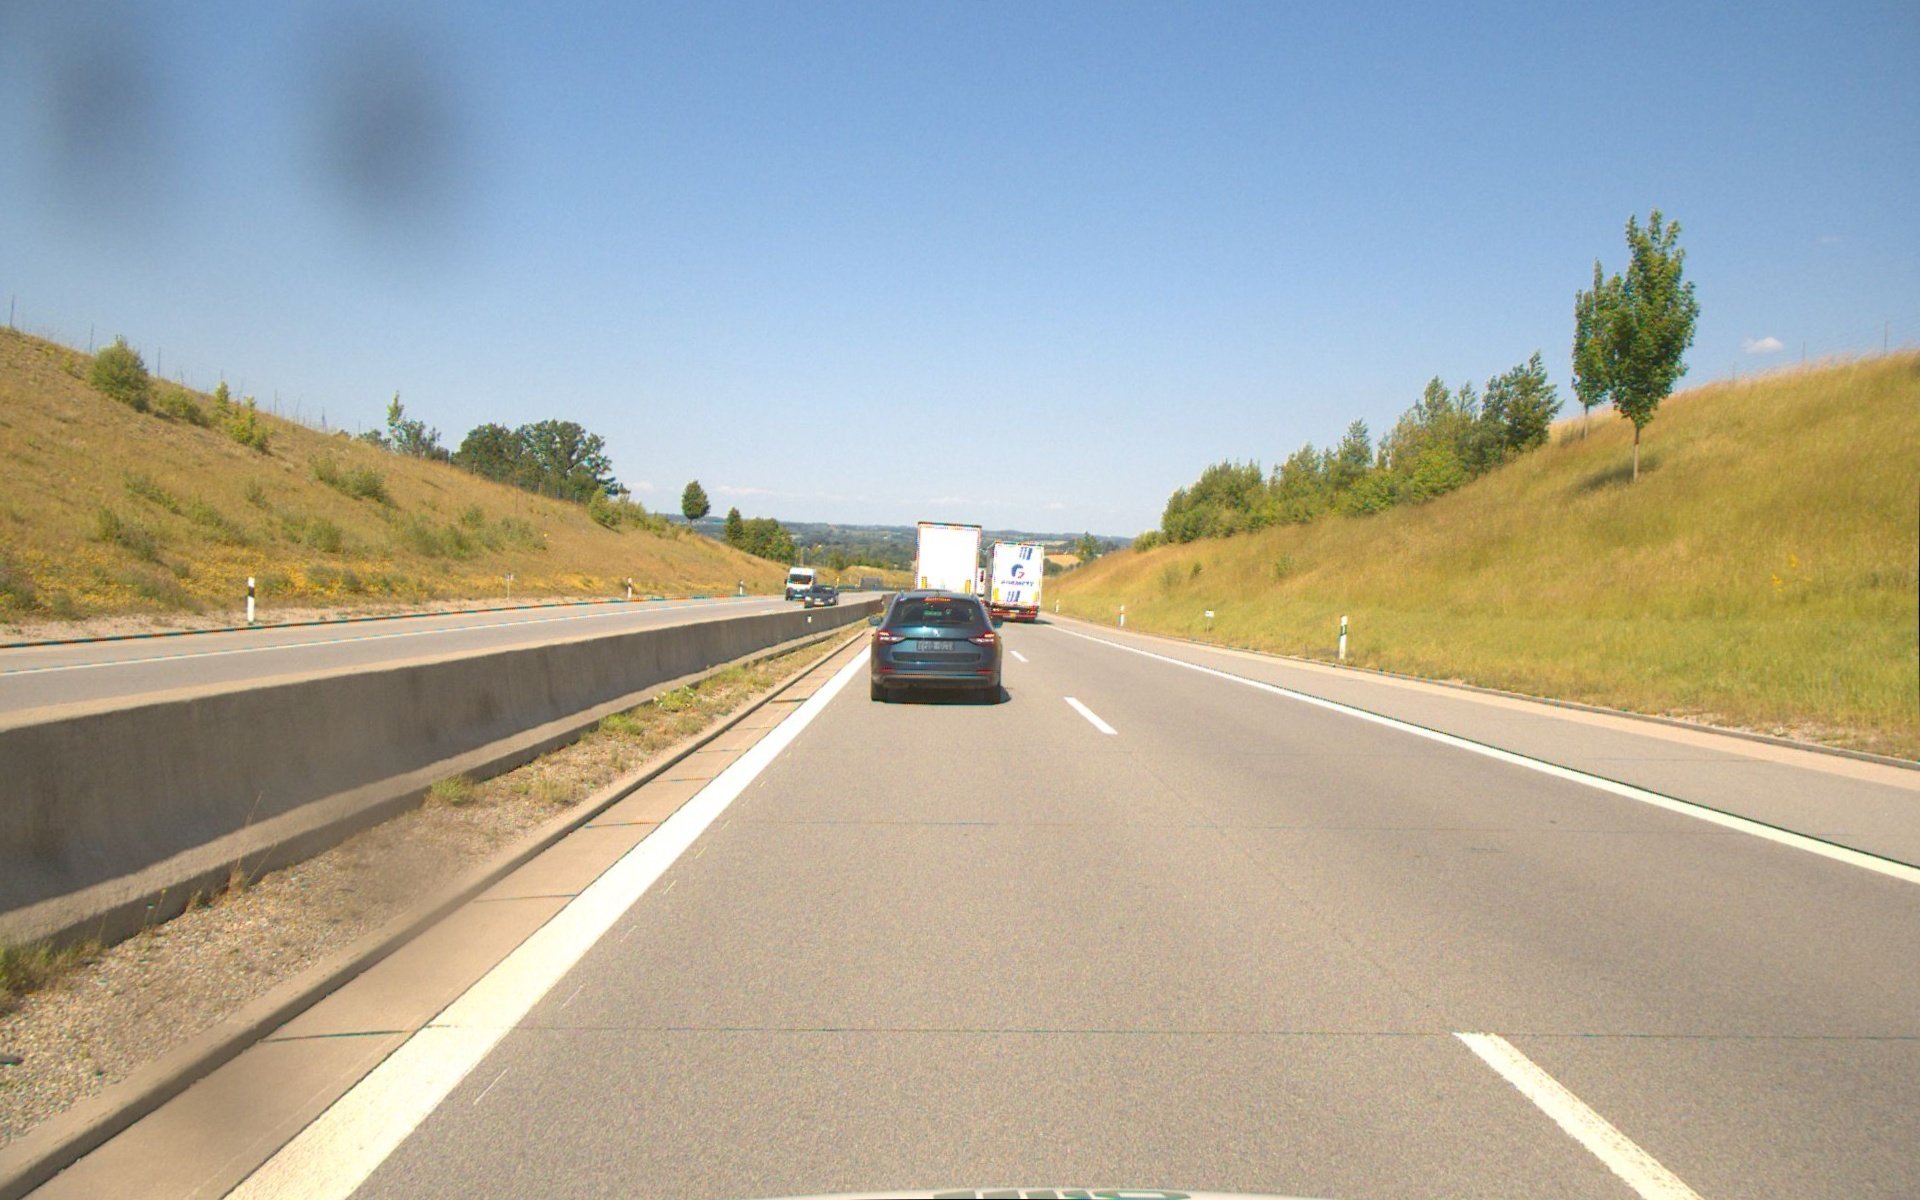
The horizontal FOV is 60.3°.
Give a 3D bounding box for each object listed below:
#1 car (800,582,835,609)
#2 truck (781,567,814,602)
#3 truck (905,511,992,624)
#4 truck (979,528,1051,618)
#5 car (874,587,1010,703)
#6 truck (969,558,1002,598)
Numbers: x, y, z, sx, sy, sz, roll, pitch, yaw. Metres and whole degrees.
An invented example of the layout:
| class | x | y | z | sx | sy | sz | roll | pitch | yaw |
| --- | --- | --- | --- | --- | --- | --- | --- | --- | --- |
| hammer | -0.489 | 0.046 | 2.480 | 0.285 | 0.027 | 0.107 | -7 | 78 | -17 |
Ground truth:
| class | x | y | z | sx | sy | sz | roll | pitch | yaw |
| --- | --- | --- | --- | --- | --- | --- | --- | --- | --- |
| car | -7.988 | -0.272 | 93.086 | 1.738 | 1.474 | 4.181 | 2 | 0 | -3 |
| truck | -12.378 | -1.198 | 126.176 | 1.953 | 2.491 | 5.667 | 3 | 0 | -1 |
| truck | -0.364 | -1.340 | 71.634 | 3.144 | 4.458 | 11.237 | 1 | 0 | 2 |
| truck | 2.974 | -1.394 | 88.836 | 3.529 | 4.458 | 11.237 | 1 | 0 | 2 |
| car | -0.282 | 0.563 | 23.022 | 1.741 | 1.466 | 3.788 | 0 | 1 | -2 |
| truck | 3.032 | -2.555 | 194.237 | 3.529 | 4.458 | 11.237 | 1 | 0 | 2 |
